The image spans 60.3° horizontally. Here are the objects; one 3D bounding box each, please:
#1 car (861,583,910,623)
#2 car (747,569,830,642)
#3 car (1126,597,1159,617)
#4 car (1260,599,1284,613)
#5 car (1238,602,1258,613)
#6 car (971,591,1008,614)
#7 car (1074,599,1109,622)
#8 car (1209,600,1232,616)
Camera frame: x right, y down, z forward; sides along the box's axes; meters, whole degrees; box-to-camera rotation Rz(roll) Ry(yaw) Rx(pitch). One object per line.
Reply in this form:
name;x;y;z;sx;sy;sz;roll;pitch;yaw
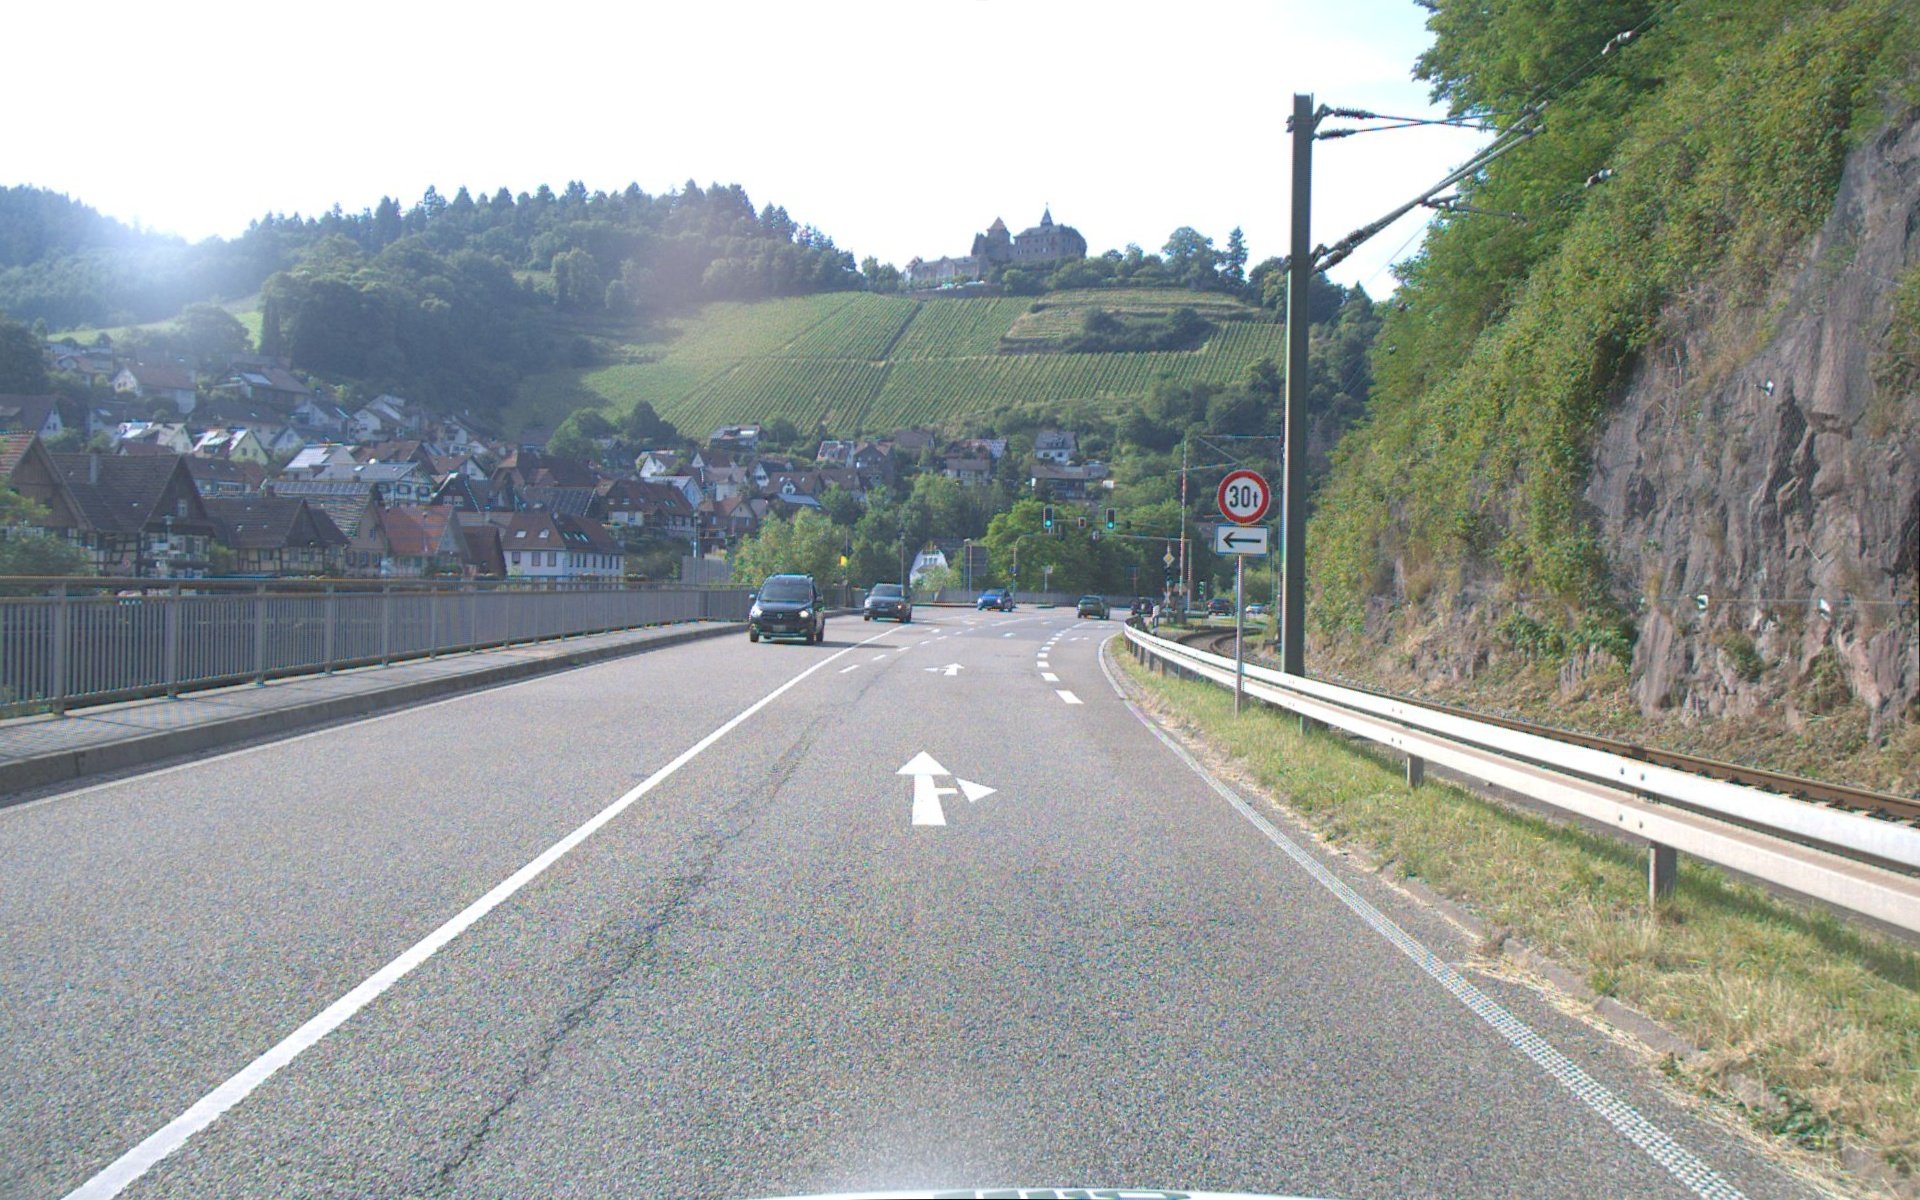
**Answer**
car;-3.318;0.125;74.423;1.779;1.675;4.613;2;0;2
car;-4.606;0.128;45.001;1.755;1.860;4.828;1;0;0
car;14.305;0.562;129.783;1.802;1.485;3.714;1;-1;19
car;34.074;0.664;180.591;1.772;1.433;3.771;0;-1;24
car;35.094;0.946;201.556;1.611;1.253;4.094;3;1;21
car;2.075;0.155;114.415;1.744;1.508;4.529;2;0;11
car;8.732;0.709;109.658;1.691;1.482;3.413;1;-1;14
car;25.014;0.811;158.614;1.768;1.478;3.649;1;-1;16
